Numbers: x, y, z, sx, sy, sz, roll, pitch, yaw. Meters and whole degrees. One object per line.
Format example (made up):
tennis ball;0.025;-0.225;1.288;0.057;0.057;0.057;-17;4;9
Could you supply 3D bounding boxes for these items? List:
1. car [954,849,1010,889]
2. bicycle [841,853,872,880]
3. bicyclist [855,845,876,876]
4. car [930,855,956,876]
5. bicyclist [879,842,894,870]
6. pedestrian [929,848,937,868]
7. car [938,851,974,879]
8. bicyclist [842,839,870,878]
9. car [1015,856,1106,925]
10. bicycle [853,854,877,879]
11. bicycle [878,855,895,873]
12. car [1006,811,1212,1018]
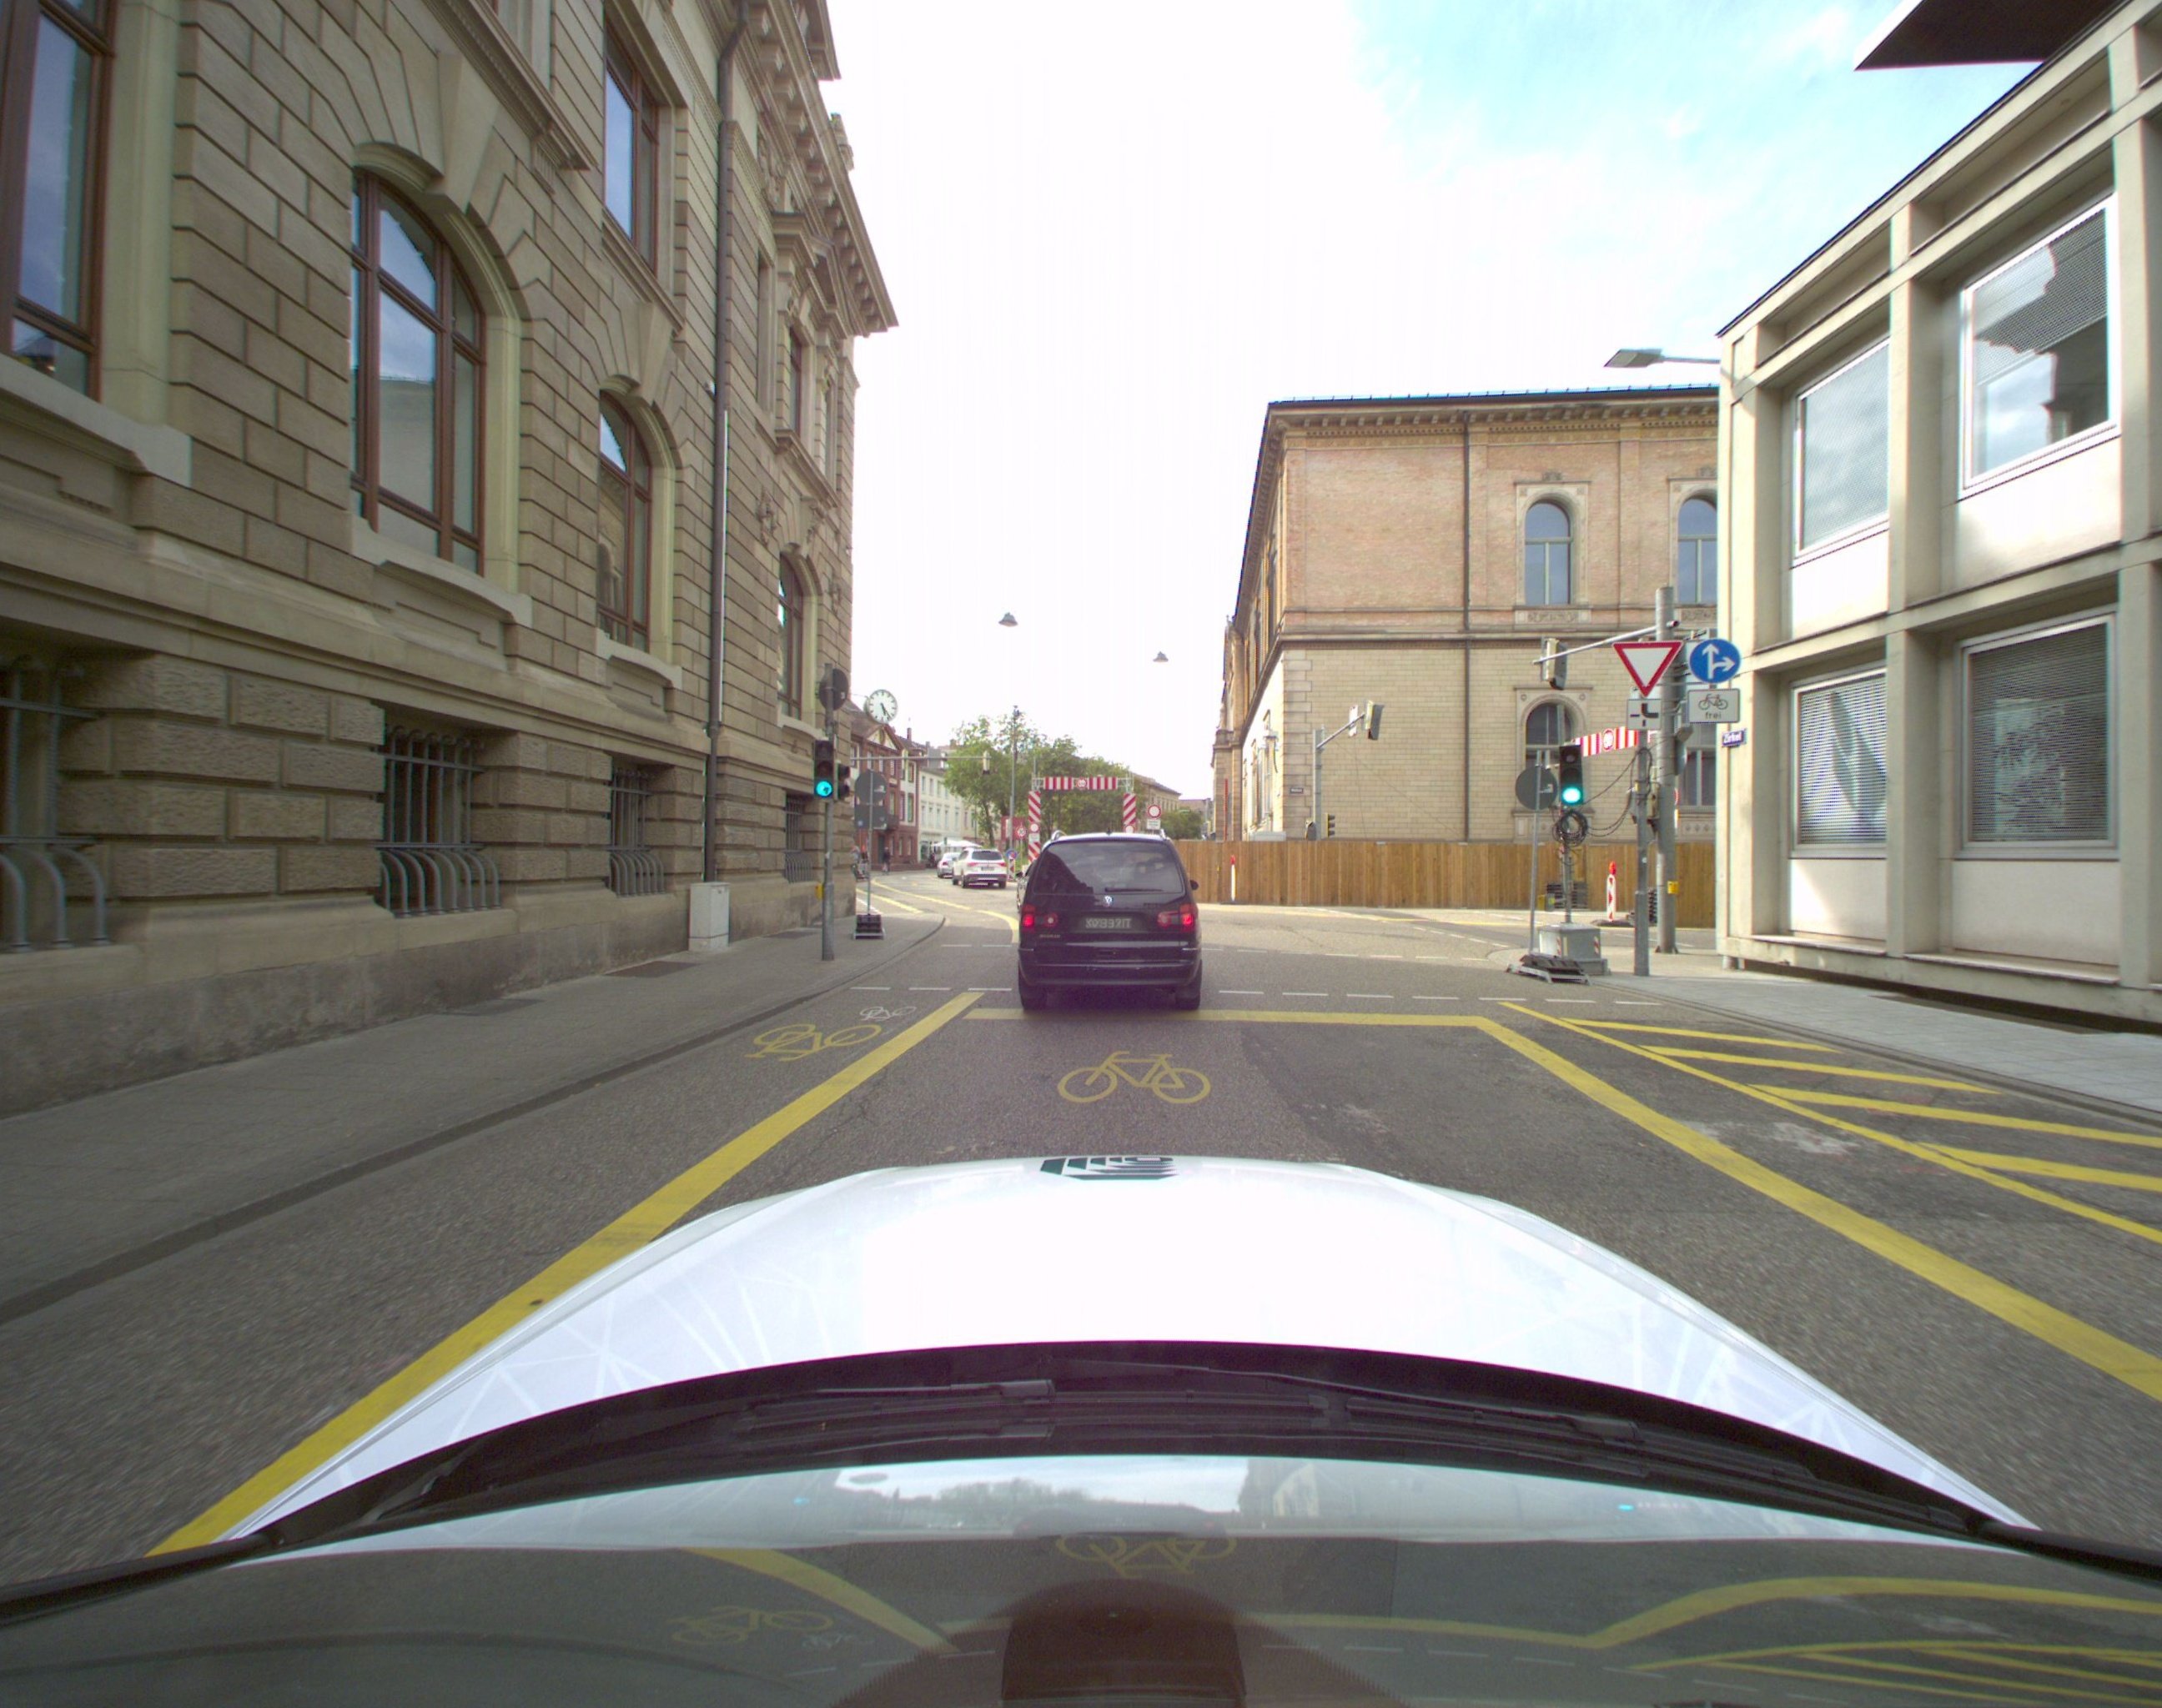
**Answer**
car;-4.269;0.601;34.540;1.777;1.586;3.978;0;-1;-16
bicycle;-10.857;0.609;39.557;1.055;1.255;3.032;0;-1;-8
bicyclist;-11.371;0.331;43.008;0.925;1.609;1.060;0;-1;-8
car;-9.384;0.776;55.277;1.650;1.321;3.660;0;-1;-12
bicyclist;-13.508;0.132;56.579;0.925;1.963;1.102;0;-1;-8
pedestrian;-14.825;0.416;81.513;0.582;2.014;0.687;0;-1;4
car;-7.085;0.587;45.895;1.705;1.501;3.982;0;-1;-13
bicyclist;-10.853;0.213;39.319;1.090;1.824;1.361;0;-1;-8
car;-0.606;0.810;19.720;1.678;1.469;4.090;1;-1;-9
bicycle;-11.349;0.637;42.903;0.925;1.255;2.534;0;-1;-8
bicycle;-13.520;0.706;56.648;0.925;1.255;2.534;0;-1;-8
car;0.332;0.545;9.182;1.782;1.790;4.105;0;-1;2
